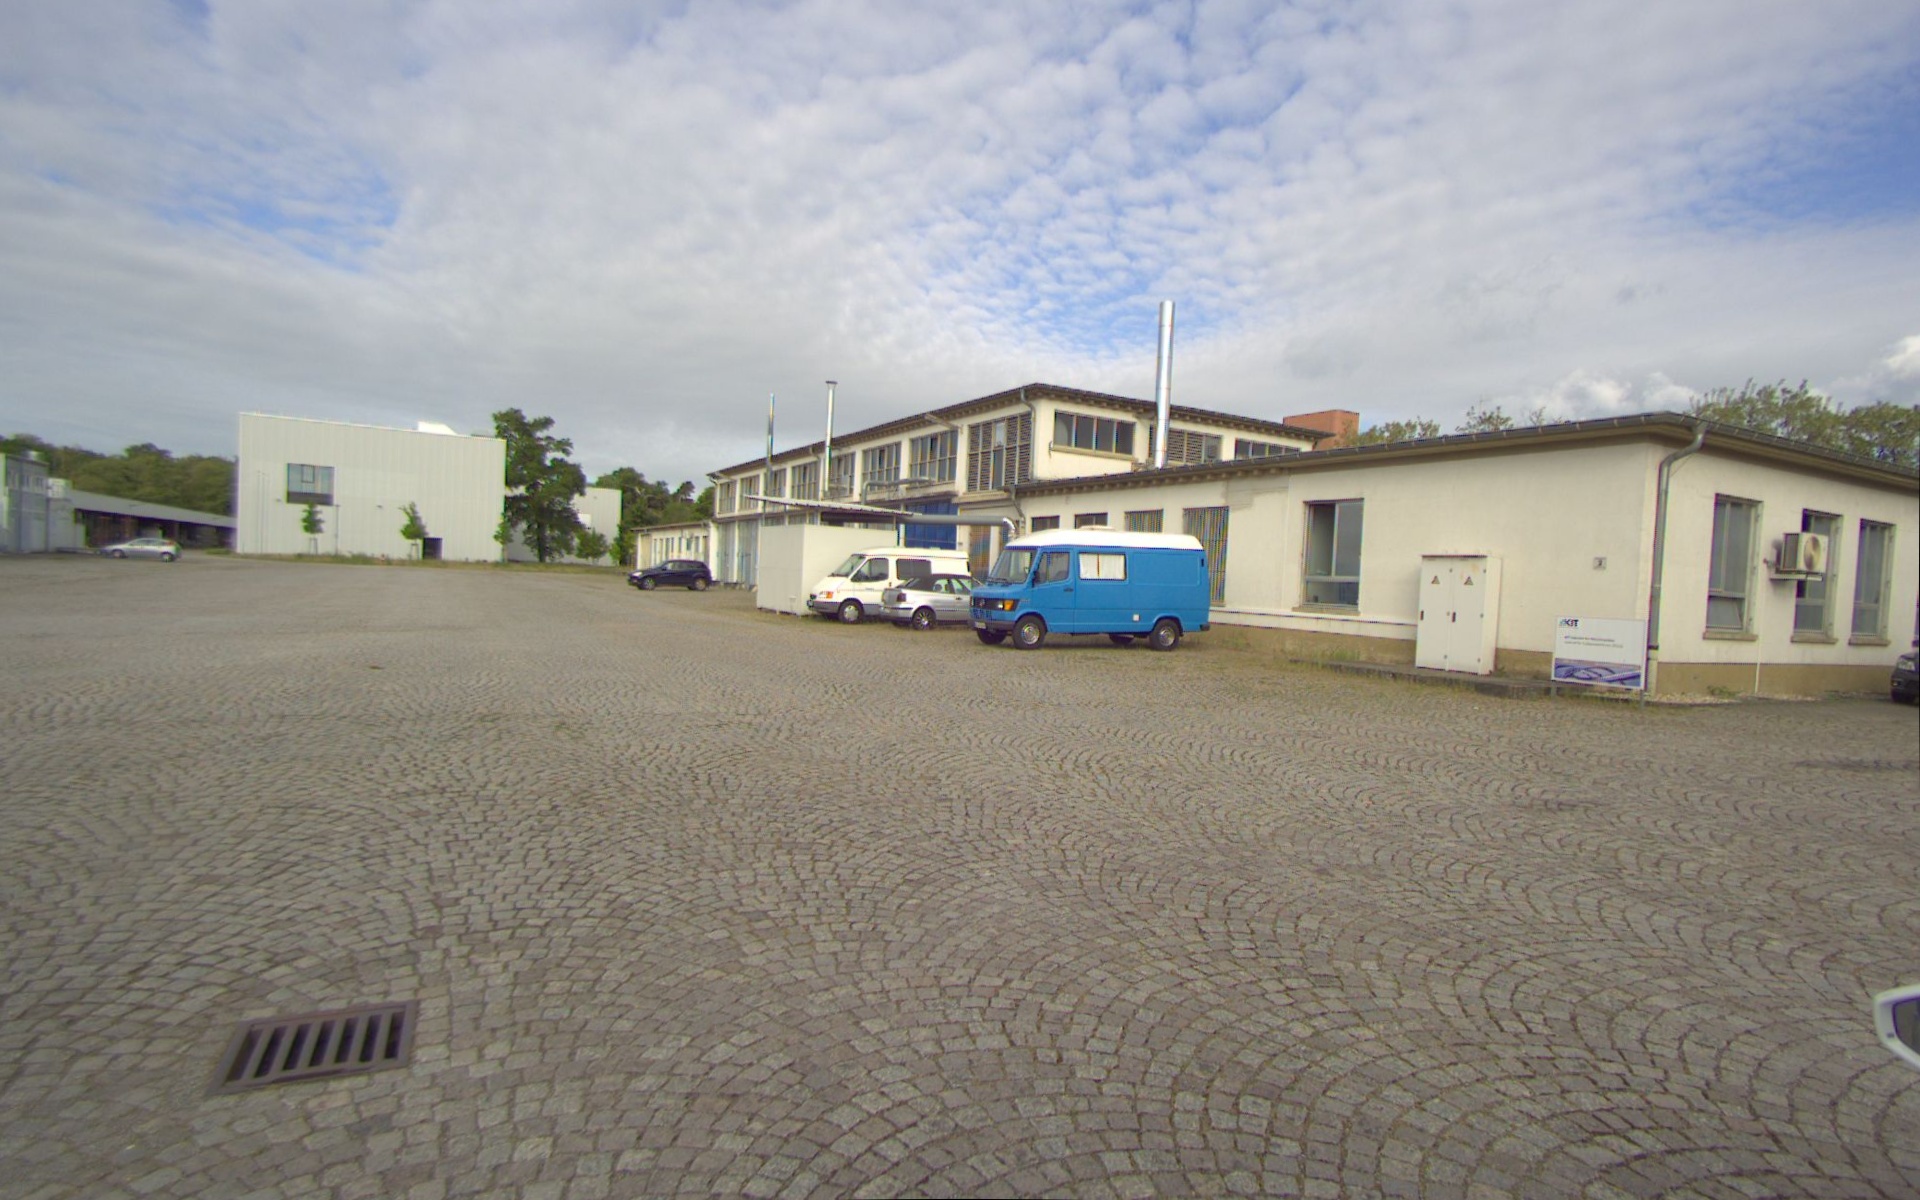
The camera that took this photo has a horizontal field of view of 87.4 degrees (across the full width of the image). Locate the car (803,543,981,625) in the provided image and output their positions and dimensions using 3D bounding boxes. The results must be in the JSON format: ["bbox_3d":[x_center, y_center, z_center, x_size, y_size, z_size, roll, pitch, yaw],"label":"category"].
[{"bbox_3d":[-1.928,-0.420,28.562,4.623,2.138,1.987,1,2,-26],"label":"car"}]

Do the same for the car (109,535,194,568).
[{"bbox_3d":[-55.190,-3.270,68.666,4.260,1.973,1.983,2,1,-32],"label":"car"}]

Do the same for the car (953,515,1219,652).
[{"bbox_3d":[2.700,-0.301,21.274,5.325,2.617,1.987,1,2,-26],"label":"car"}]

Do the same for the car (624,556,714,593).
[{"bbox_3d":[-15.177,-1.279,52.469,4.106,1.667,1.983,3,-1,-31],"label":"car"}]

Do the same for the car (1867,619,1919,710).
[{"bbox_3d":[18.150,1.171,17.607,4.754,1.480,1.915,2,1,-30],"label":"car"}]

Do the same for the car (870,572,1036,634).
[{"bbox_3d":[-0.169,0.083,26.041,3.948,1.427,1.626,2,1,-27],"label":"car"}]
